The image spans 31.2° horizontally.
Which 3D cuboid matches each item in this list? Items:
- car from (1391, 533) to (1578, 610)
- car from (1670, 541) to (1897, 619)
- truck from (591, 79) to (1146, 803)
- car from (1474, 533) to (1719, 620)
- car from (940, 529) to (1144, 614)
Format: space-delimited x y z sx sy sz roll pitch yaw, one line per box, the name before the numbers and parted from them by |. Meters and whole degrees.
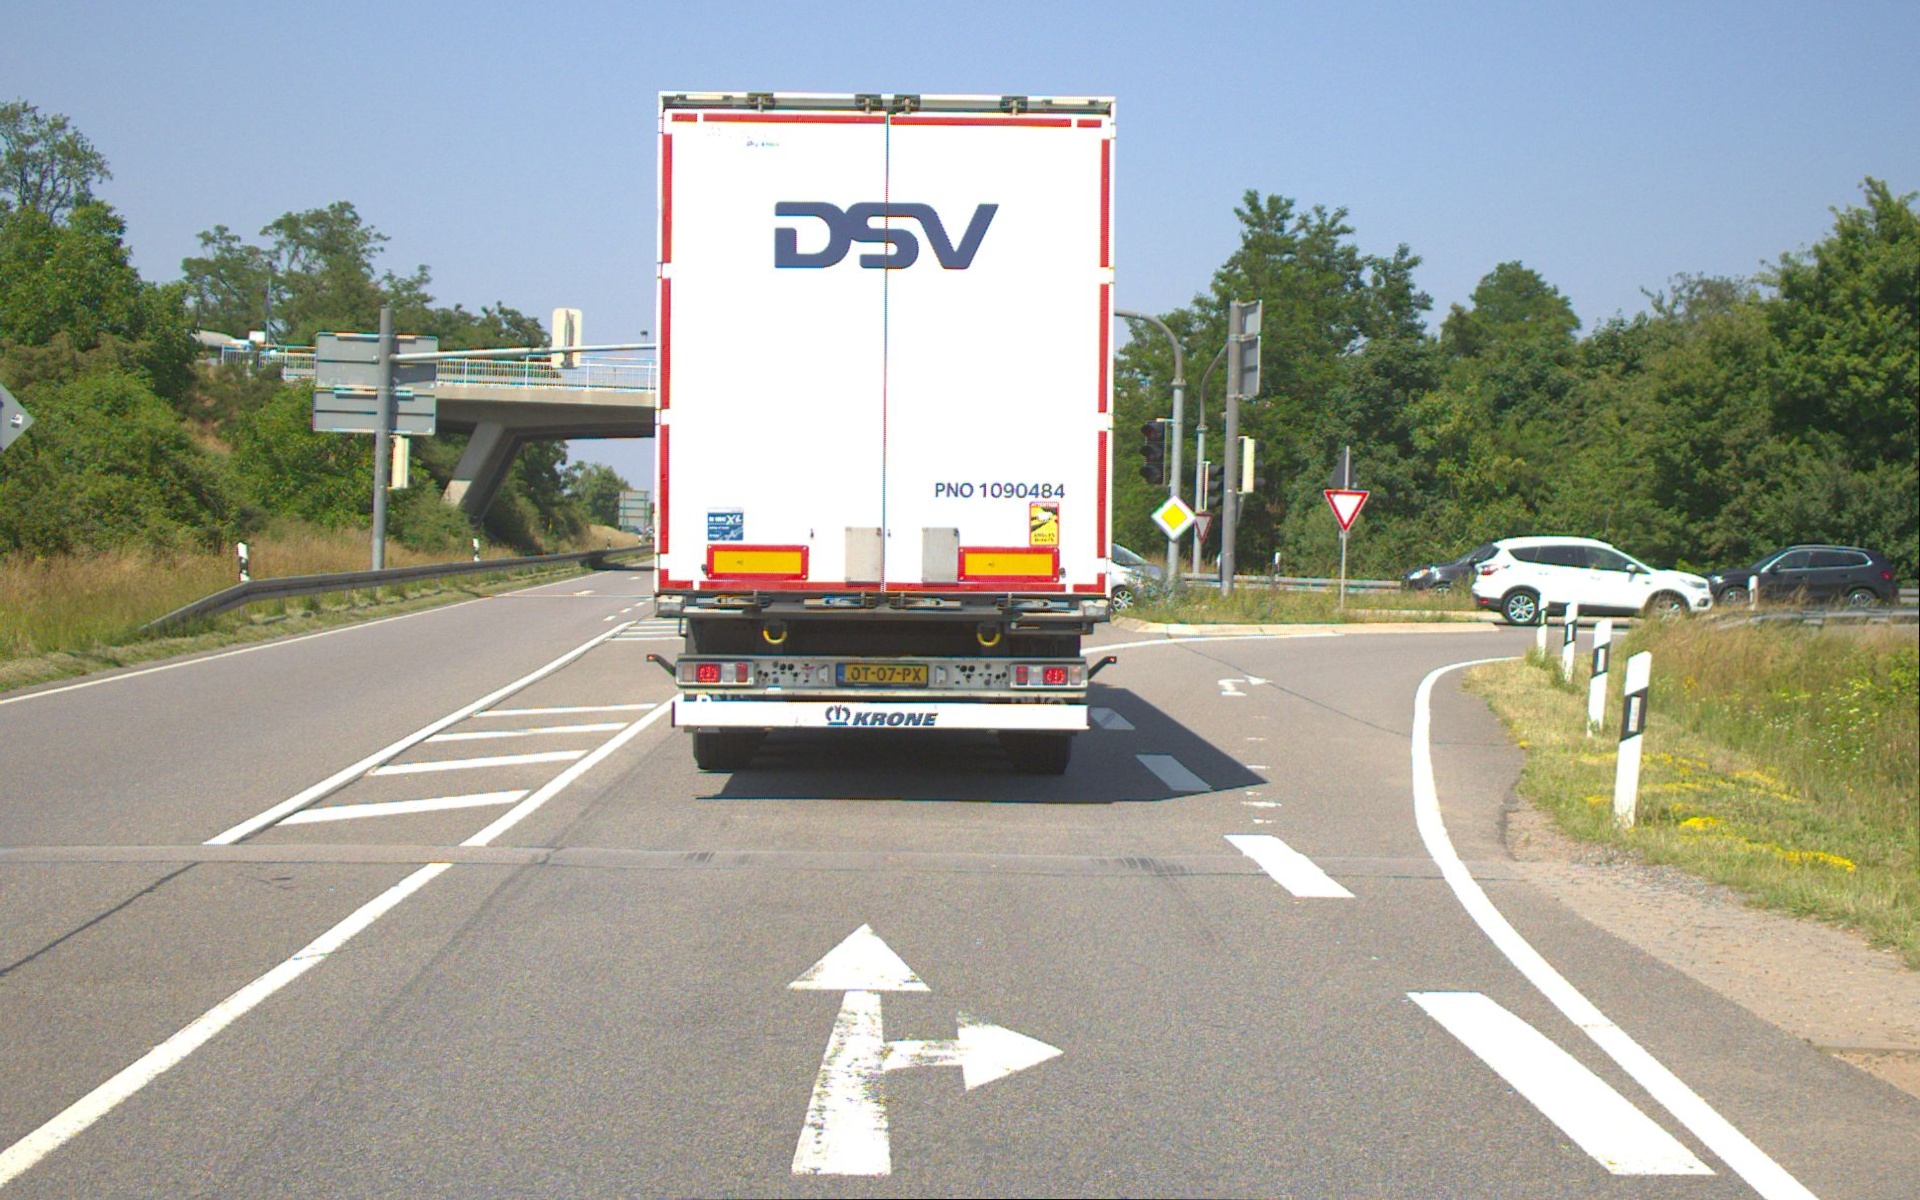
car | 11.623 -0.627 76.439 3.986 1.634 1.841 1 0 5
car | 17.783 -0.429 74.383 4.486 1.592 1.767 1 0 2
truck | -0.587 -0.943 23.823 2.987 3.928 9.876 1 1 -1
car | 12.030 -0.442 65.203 4.470 1.561 1.739 1 0 8
car | 1.601 -0.551 66.546 3.683 1.561 1.738 1 0 12
